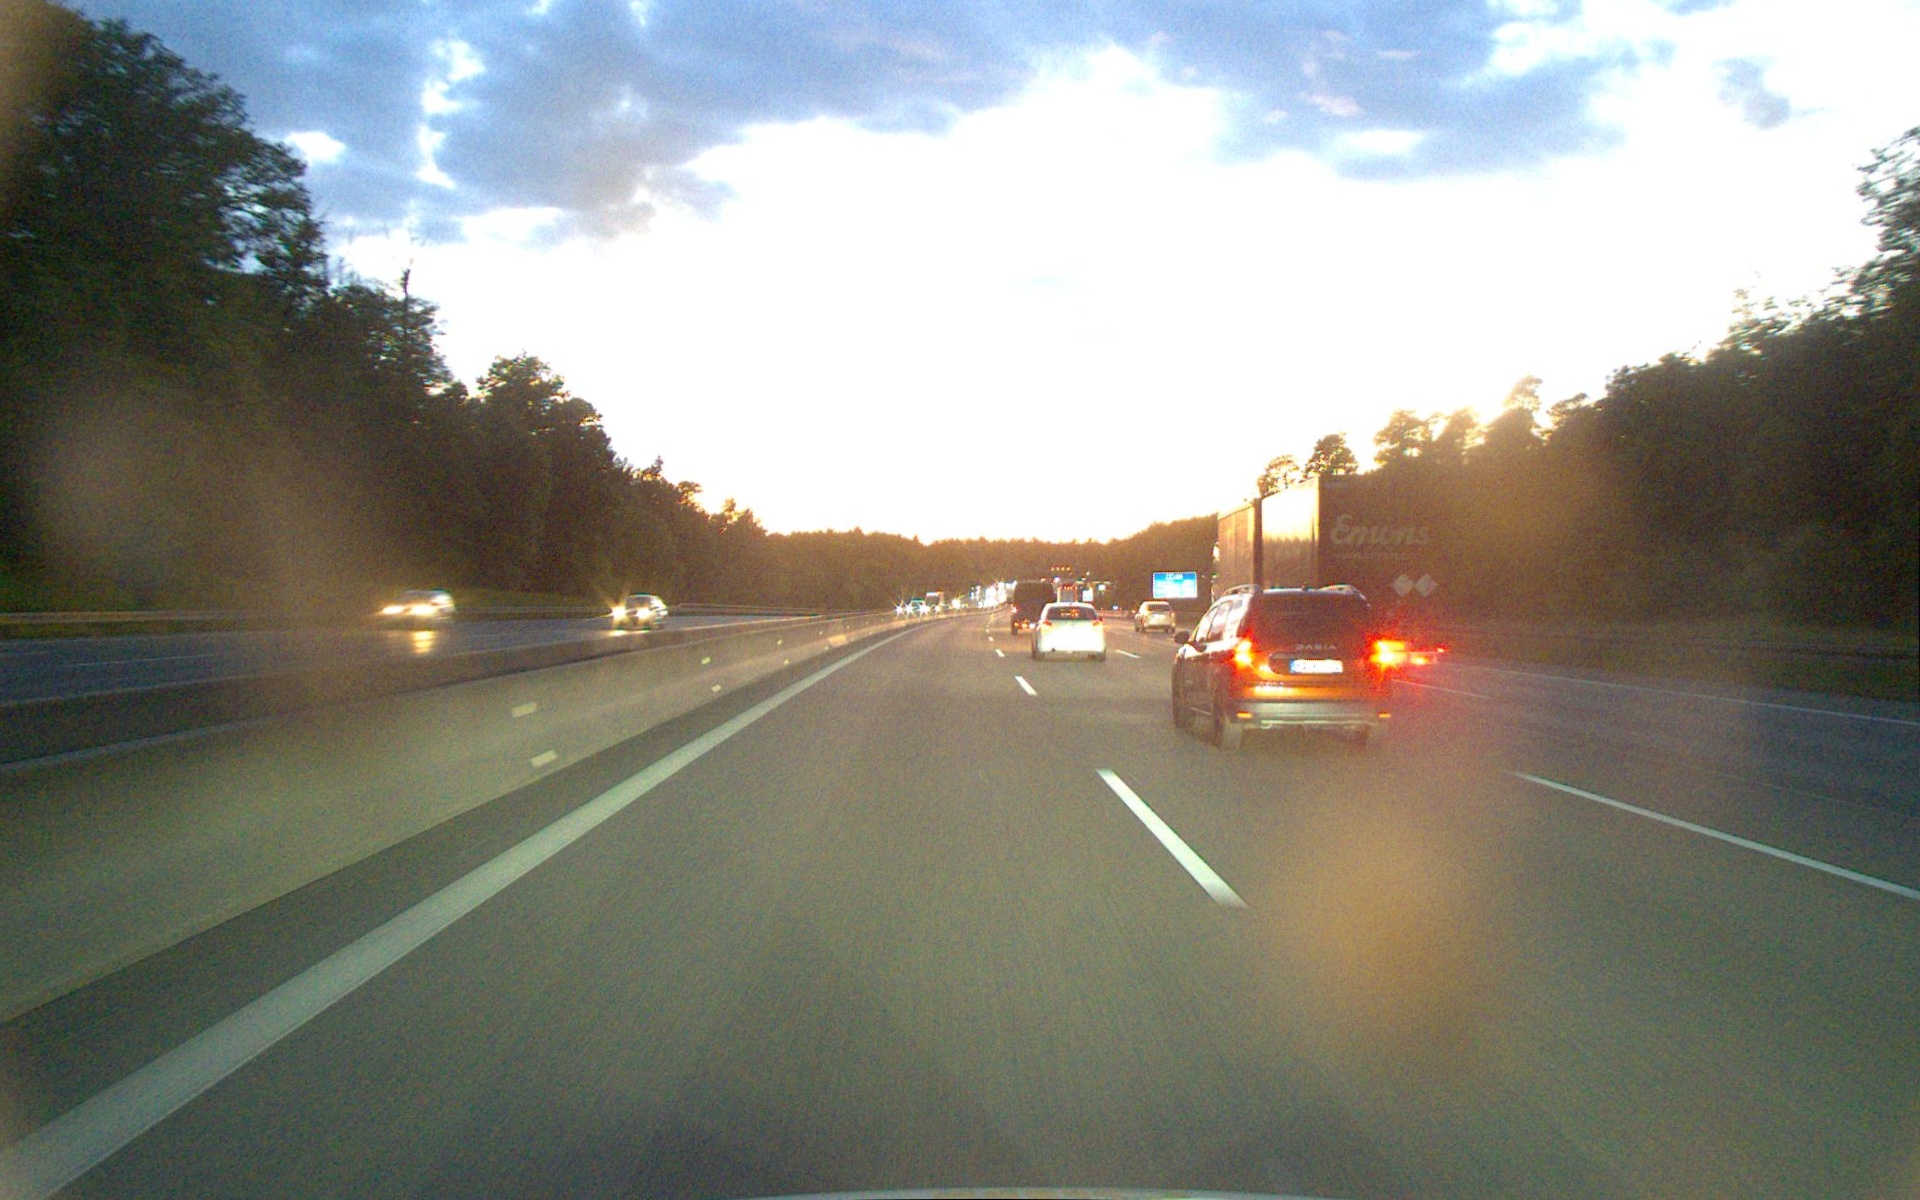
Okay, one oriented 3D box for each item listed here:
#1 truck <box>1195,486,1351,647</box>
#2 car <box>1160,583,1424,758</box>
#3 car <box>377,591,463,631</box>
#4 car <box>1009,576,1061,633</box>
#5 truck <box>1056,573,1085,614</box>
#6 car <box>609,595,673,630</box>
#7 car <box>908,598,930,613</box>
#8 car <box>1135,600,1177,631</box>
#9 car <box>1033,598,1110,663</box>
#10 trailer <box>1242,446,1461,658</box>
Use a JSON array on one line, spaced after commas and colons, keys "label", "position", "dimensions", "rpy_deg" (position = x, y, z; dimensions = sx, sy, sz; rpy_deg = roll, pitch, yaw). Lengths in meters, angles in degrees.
[{"label": "truck", "position": [8.873, -0.850, 48.291], "dimensions": [2.825, 4.172, 10.833], "rpy_deg": [0, 0, 2]}, {"label": "car", "position": [3.502, 0.652, 18.433], "dimensions": [1.864, 1.672, 5.051], "rpy_deg": [0, 0, -1]}, {"label": "car", "position": [-21.538, 0.415, 66.121], "dimensions": [1.803, 1.489, 4.003], "rpy_deg": [1, 1, 5]}, {"label": "car", "position": [3.449, 0.211, 75.231], "dimensions": [2.120, 2.461, 5.567], "rpy_deg": [0, 0, 5]}, {"label": "truck", "position": [16.528, -0.861, 248.386], "dimensions": [4.062, 5.959, 14.301], "rpy_deg": [0, 0, 3]}, {"label": "car", "position": [-14.414, 0.542, 74.892], "dimensions": [1.804, 1.489, 4.777], "rpy_deg": [1, 1, 2]}, {"label": "car", "position": [-4.433, 0.599, 180.274], "dimensions": [1.952, 1.667, 5.113], "rpy_deg": [1, 0, 3]}, {"label": "car", "position": [9.987, 0.779, 84.384], "dimensions": [1.965, 1.565, 4.002], "rpy_deg": [0, 0, 5]}, {"label": "car", "position": [2.780, 0.743, 42.043], "dimensions": [1.820, 1.467, 3.722], "rpy_deg": [0, 2, 2]}, {"label": "trailer", "position": [8.577, -0.925, 37.691], "dimensions": [2.847, 4.172, 10.359], "rpy_deg": [0, 0, 2]}]
